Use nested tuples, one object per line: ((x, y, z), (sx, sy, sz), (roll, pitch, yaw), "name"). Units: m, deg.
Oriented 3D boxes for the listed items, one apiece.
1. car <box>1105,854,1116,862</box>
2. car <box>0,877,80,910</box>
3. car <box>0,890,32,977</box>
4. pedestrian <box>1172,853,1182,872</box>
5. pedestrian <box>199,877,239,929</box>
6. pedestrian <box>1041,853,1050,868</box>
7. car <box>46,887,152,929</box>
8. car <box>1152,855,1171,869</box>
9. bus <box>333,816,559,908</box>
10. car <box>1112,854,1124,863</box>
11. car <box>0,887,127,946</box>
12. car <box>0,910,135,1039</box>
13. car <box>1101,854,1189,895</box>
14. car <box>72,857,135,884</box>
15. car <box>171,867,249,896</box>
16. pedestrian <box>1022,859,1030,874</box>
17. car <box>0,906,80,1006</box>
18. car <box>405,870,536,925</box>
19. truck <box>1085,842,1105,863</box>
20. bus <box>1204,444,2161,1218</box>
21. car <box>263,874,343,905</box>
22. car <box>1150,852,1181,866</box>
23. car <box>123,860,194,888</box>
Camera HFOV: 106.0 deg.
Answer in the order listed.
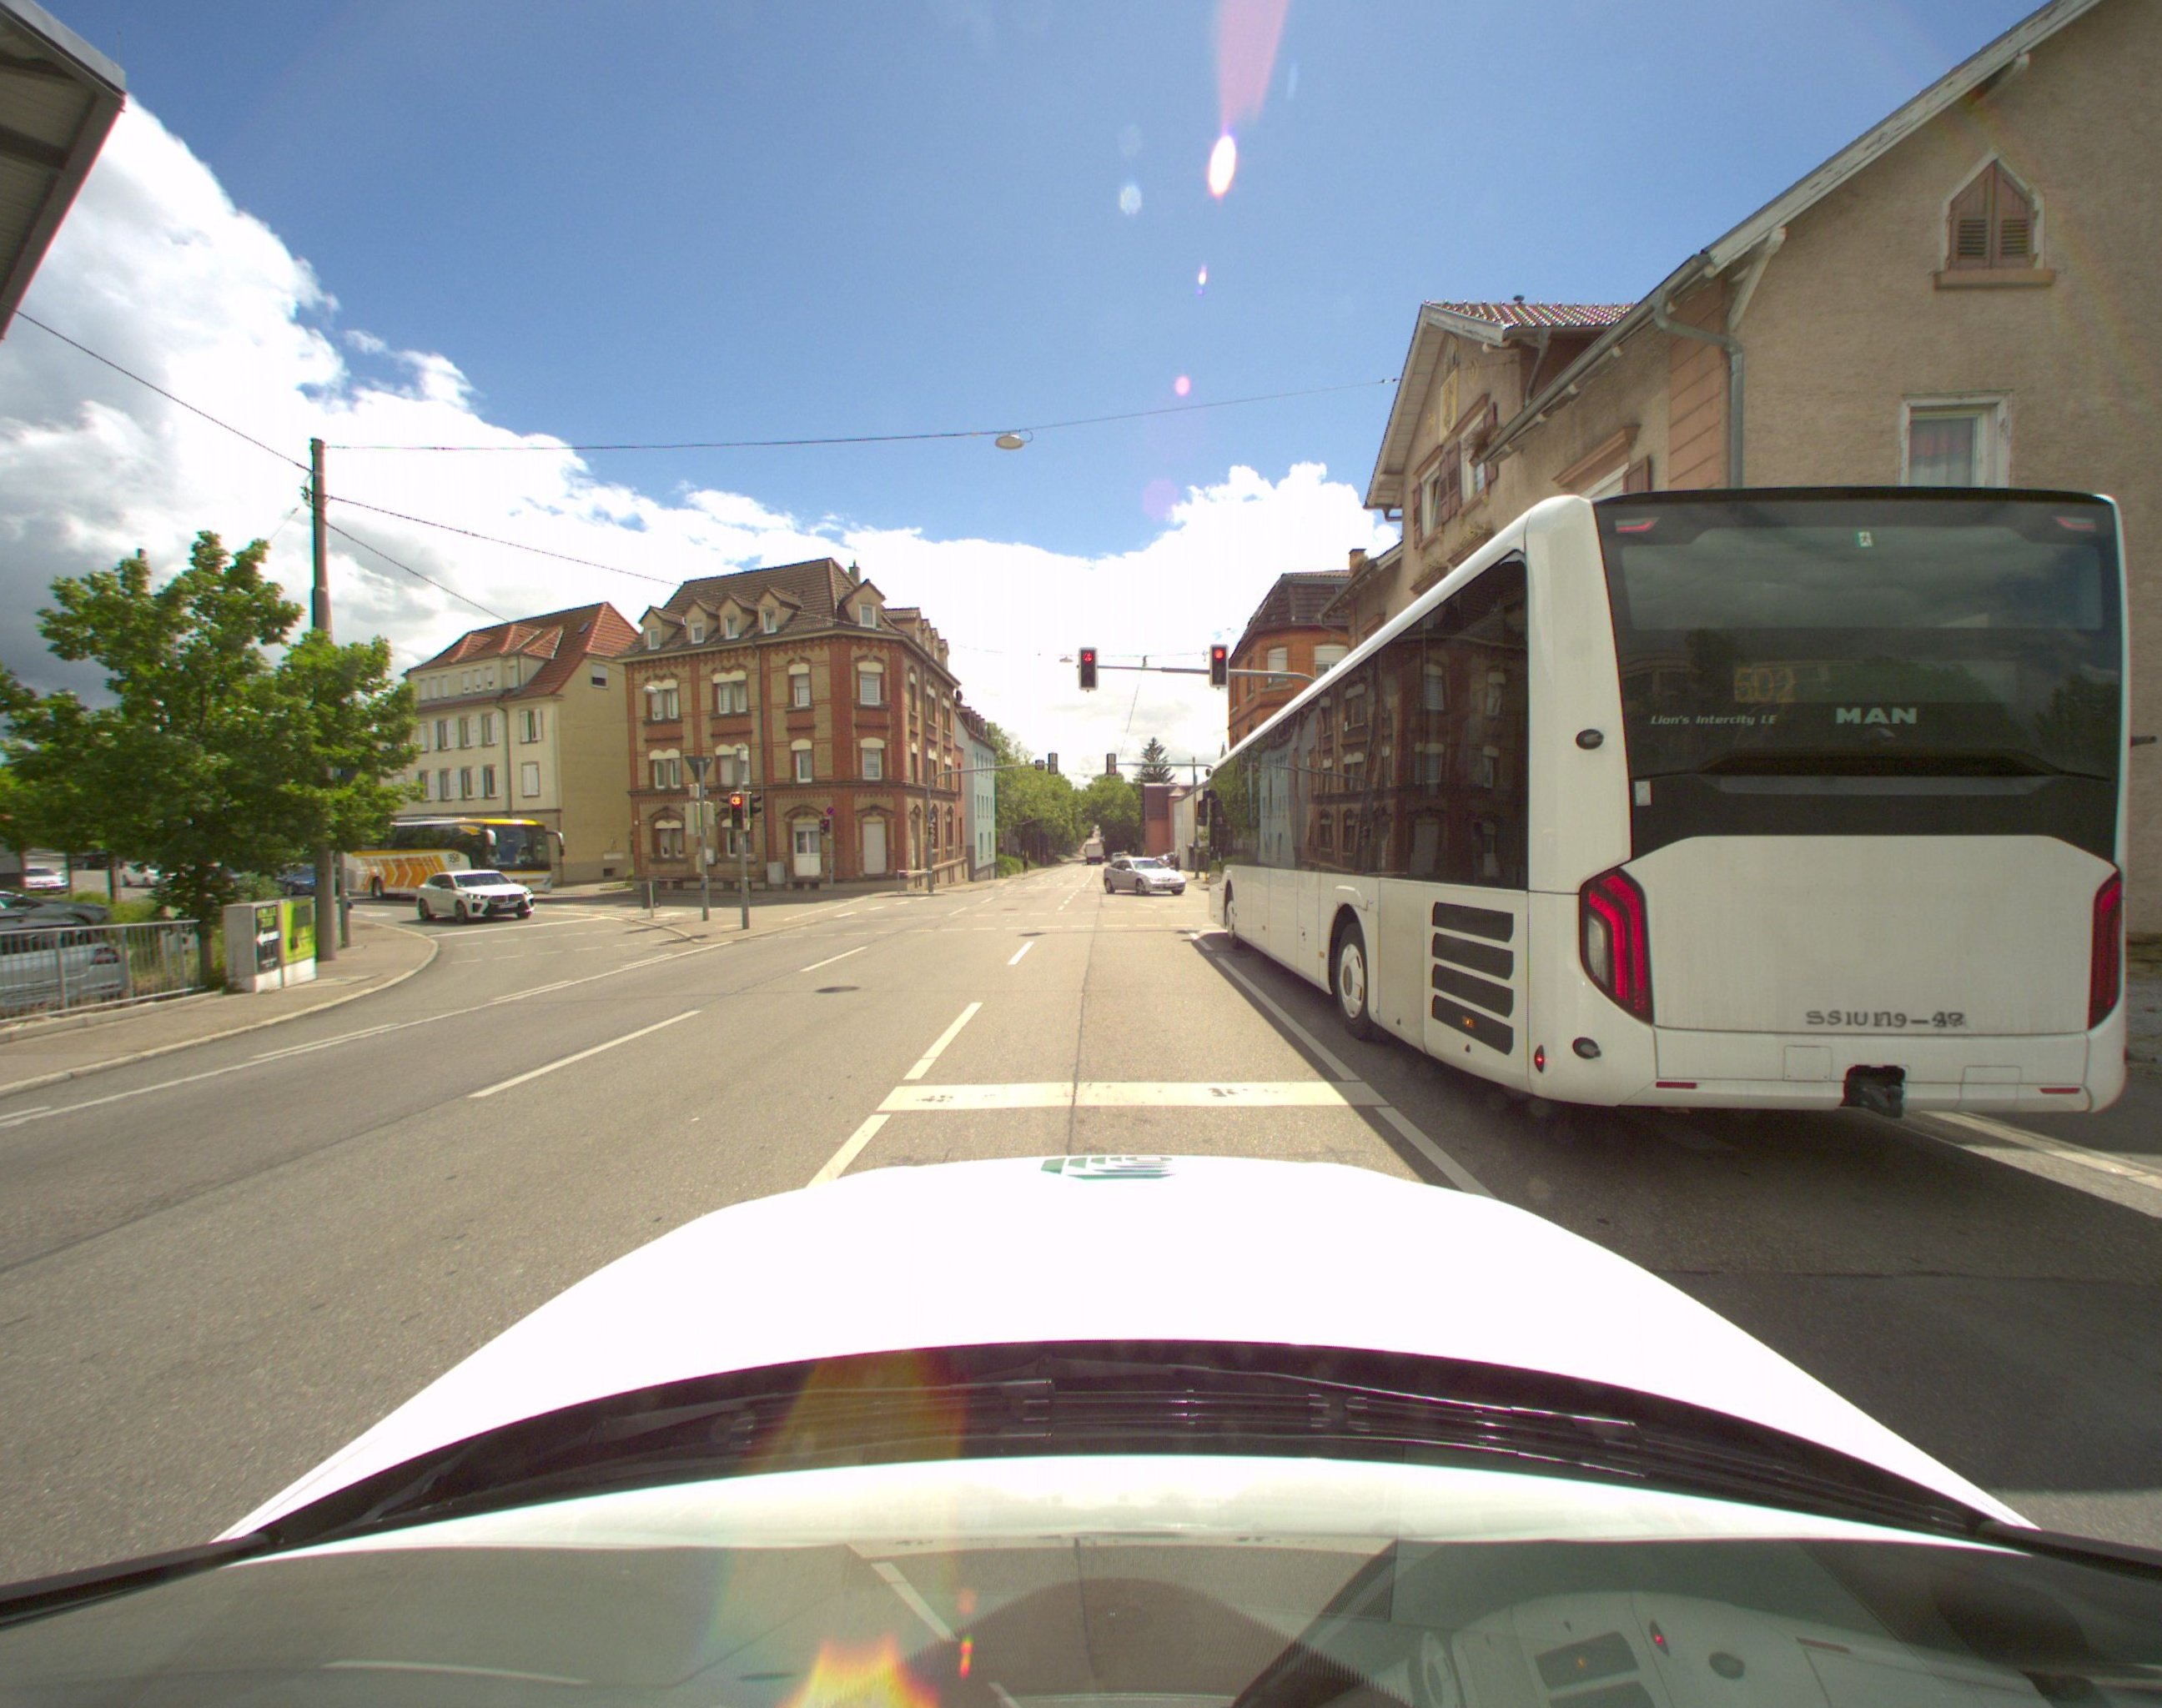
((5.287, 0.725, 146.205), (1.787, 1.409, 4.421), (-1, 0, 3), "car")
((-54.706, 2.076, 42.703), (3.951, 1.596, 1.869), (-2, 0, 25), "car")
((-23.543, 1.668, 16.875), (3.455, 1.680, 1.663), (-1, 2, 30), "car")
((8.761, 0.785, 74.432), (0.736, 1.750, 0.619), (-2, 0, 1), "pedestrian")
((-30.007, 1.699, 28.341), (1.129, 1.734, 0.764), (-2, 0, 34), "pedestrian")
((-4.850, 0.949, 111.453), (0.991, 2.013, 1.189), (-2, 0, 1), "pedestrian")
((-37.523, 2.039, 31.124), (3.456, 1.448, 1.811), (-2, 0, 26), "car")
((9.225, 0.894, 93.308), (1.788, 1.409, 4.000), (-2, 0, 1), "car")
((-28.105, 0.271, 35.778), (12.111, 3.621, 2.788), (0, 0, 26), "bus")
((5.833, 0.714, 129.741), (1.787, 1.409, 4.002), (-1, 0, 2), "car")
((-29.435, 1.750, 22.644), (1.777, 1.477, 3.522), (-2, 0, 32), "car")
((-16.036, 1.754, 12.337), (3.321, 1.560, 1.693), (0, 2, 32), "car")
((2.363, 0.760, 31.222), (1.706, 1.427, 3.969), (-2, 0, -23), "car")
((-67.407, 1.133, 56.168), (3.950, 1.750, 1.836), (-2, 0, 26), "car")
((-46.456, 1.458, 43.431), (3.949, 1.409, 1.923), (-2, 0, 29), "car")
((-5.667, 1.274, 83.965), (0.727, 1.565, 0.561), (-1, 0, 0), "pedestrian")
((-19.546, 1.794, 14.444), (3.455, 1.526, 1.626), (-1, 2, 29), "car")
((-19.366, 1.348, 25.808), (4.250, 1.552, 1.845), (-2, 0, 32), "car")
((2.127, -0.253, 127.930), (2.917, 3.081, 7.883), (-2, 0, 0), "truck")
((3.510, -0.108, 9.570), (2.662, 3.155, 12.467), (0, 0, 2), "bus")
((-39.244, 1.790, 41.089), (3.949, 1.409, 1.762), (-2, 0, 28), "car")
((11.771, 0.727, 113.364), (3.978, 1.757, 1.998), (-2, 0, -3), "car")
((-53.695, 1.162, 47.409), (3.949, 1.553, 1.923), (-2, 0, 29), "car")
